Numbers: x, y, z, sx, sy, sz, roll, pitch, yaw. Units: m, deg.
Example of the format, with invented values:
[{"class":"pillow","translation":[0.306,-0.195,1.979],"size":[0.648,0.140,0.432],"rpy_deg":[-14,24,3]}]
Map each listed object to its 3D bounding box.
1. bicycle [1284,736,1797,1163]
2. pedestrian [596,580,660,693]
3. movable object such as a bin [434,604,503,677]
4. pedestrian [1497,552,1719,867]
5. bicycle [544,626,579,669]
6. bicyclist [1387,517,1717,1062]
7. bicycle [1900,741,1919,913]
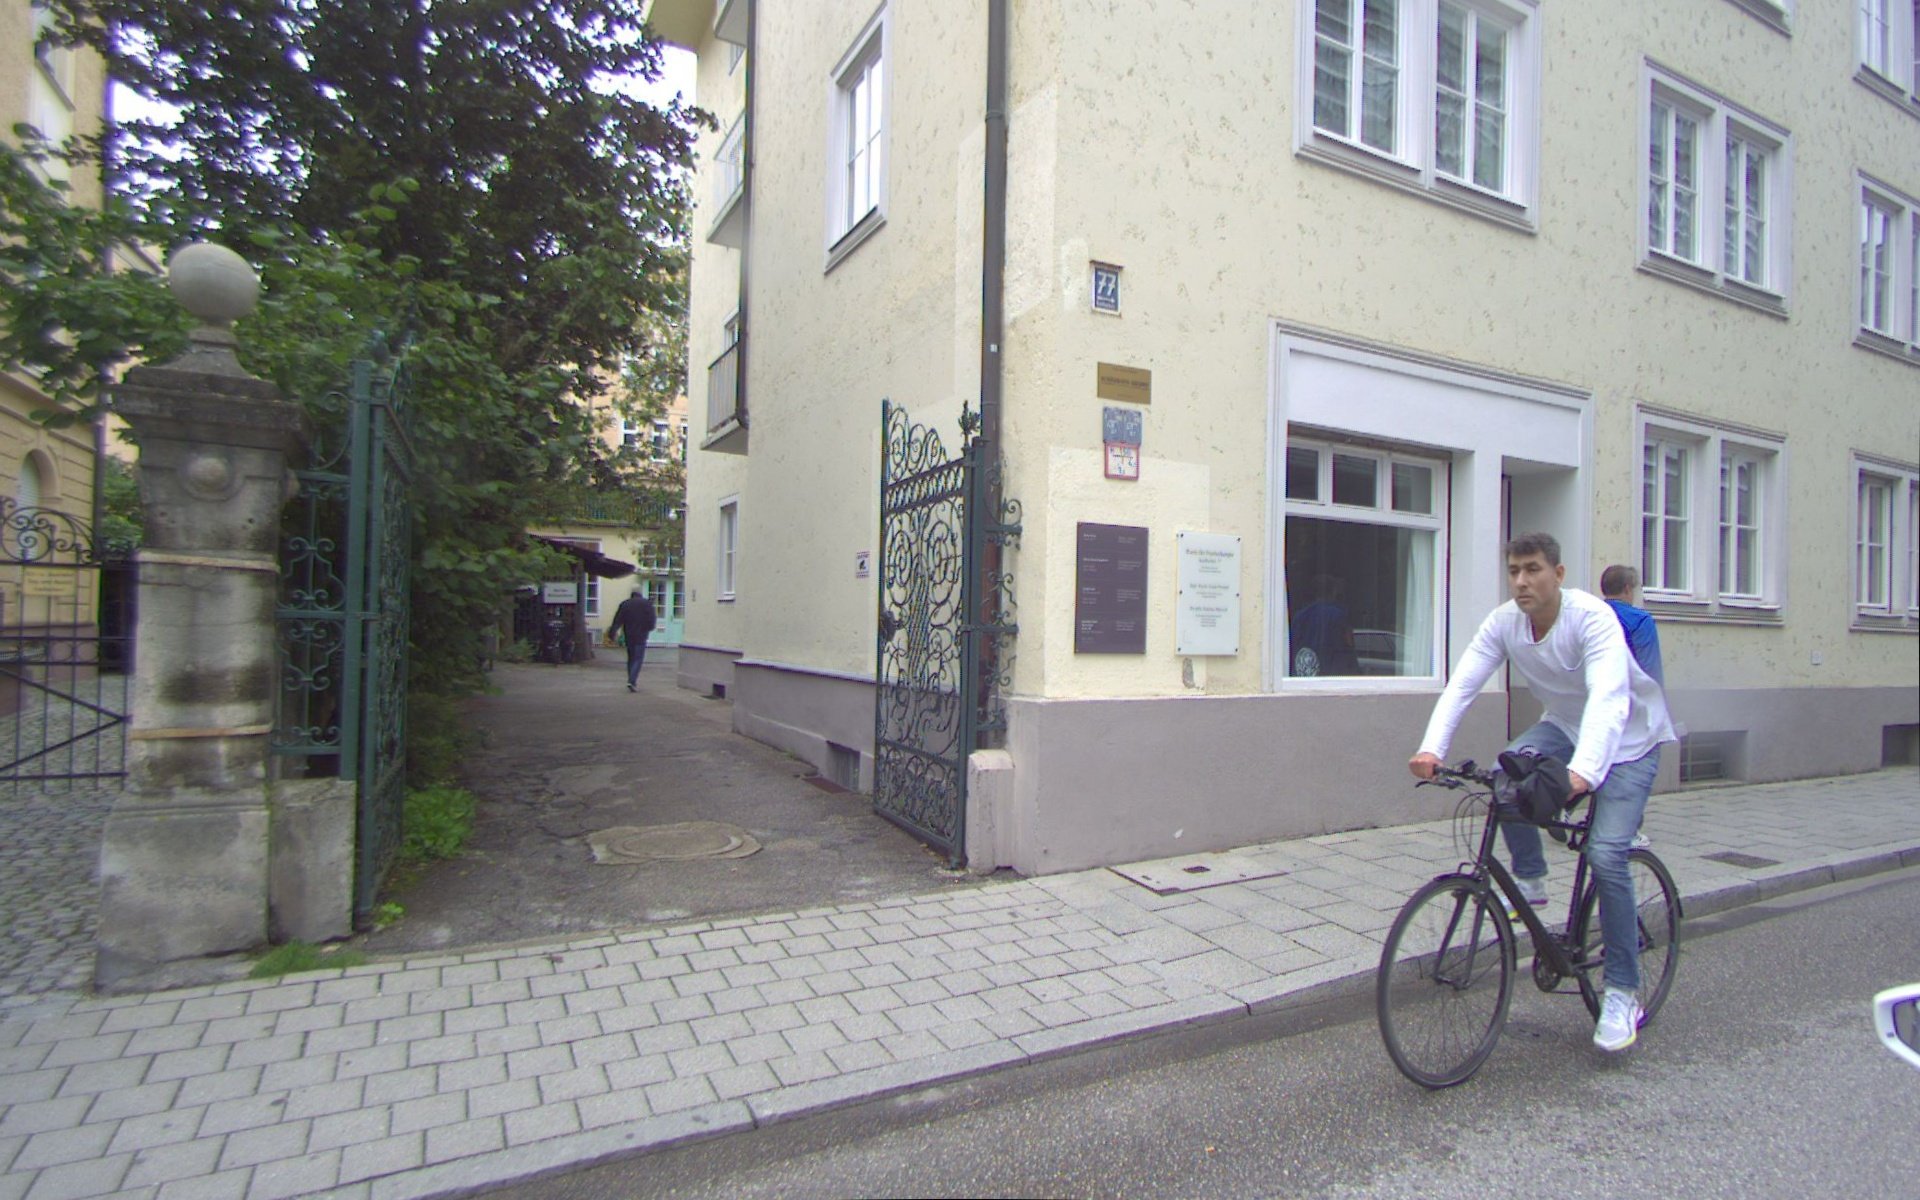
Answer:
[{"class":"bicycle","translation":[2.120,1.082,3.583],"size":[1.980,1.052,0.658],"rpy_deg":[2,-2,-29]},{"class":"pedestrian","translation":[-5.646,0.616,17.147],"size":[0.892,1.851,0.954],"rpy_deg":[2,-1,-12]},{"class":"movable object such as a bin","translation":[-9.889,0.817,20.272],"size":[1.091,1.422,1.222],"rpy_deg":[1,-1,-20]},{"class":"pedestrian","translation":[4.224,0.665,6.566],"size":[1.063,1.879,0.754],"rpy_deg":[2,0,-28]},{"class":"bicycle","translation":[-9.878,1.164,24.945],"size":[0.688,0.985,1.881],"rpy_deg":[1,-1,-19]},{"class":"bicyclist","translation":[2.101,0.594,3.582],"size":[0.884,1.664,0.657],"rpy_deg":[2,-2,-28]},{"class":"bicycle","translation":[6.141,1.268,5.667],"size":[1.787,0.917,0.705],"rpy_deg":[2,-2,-29]}]
